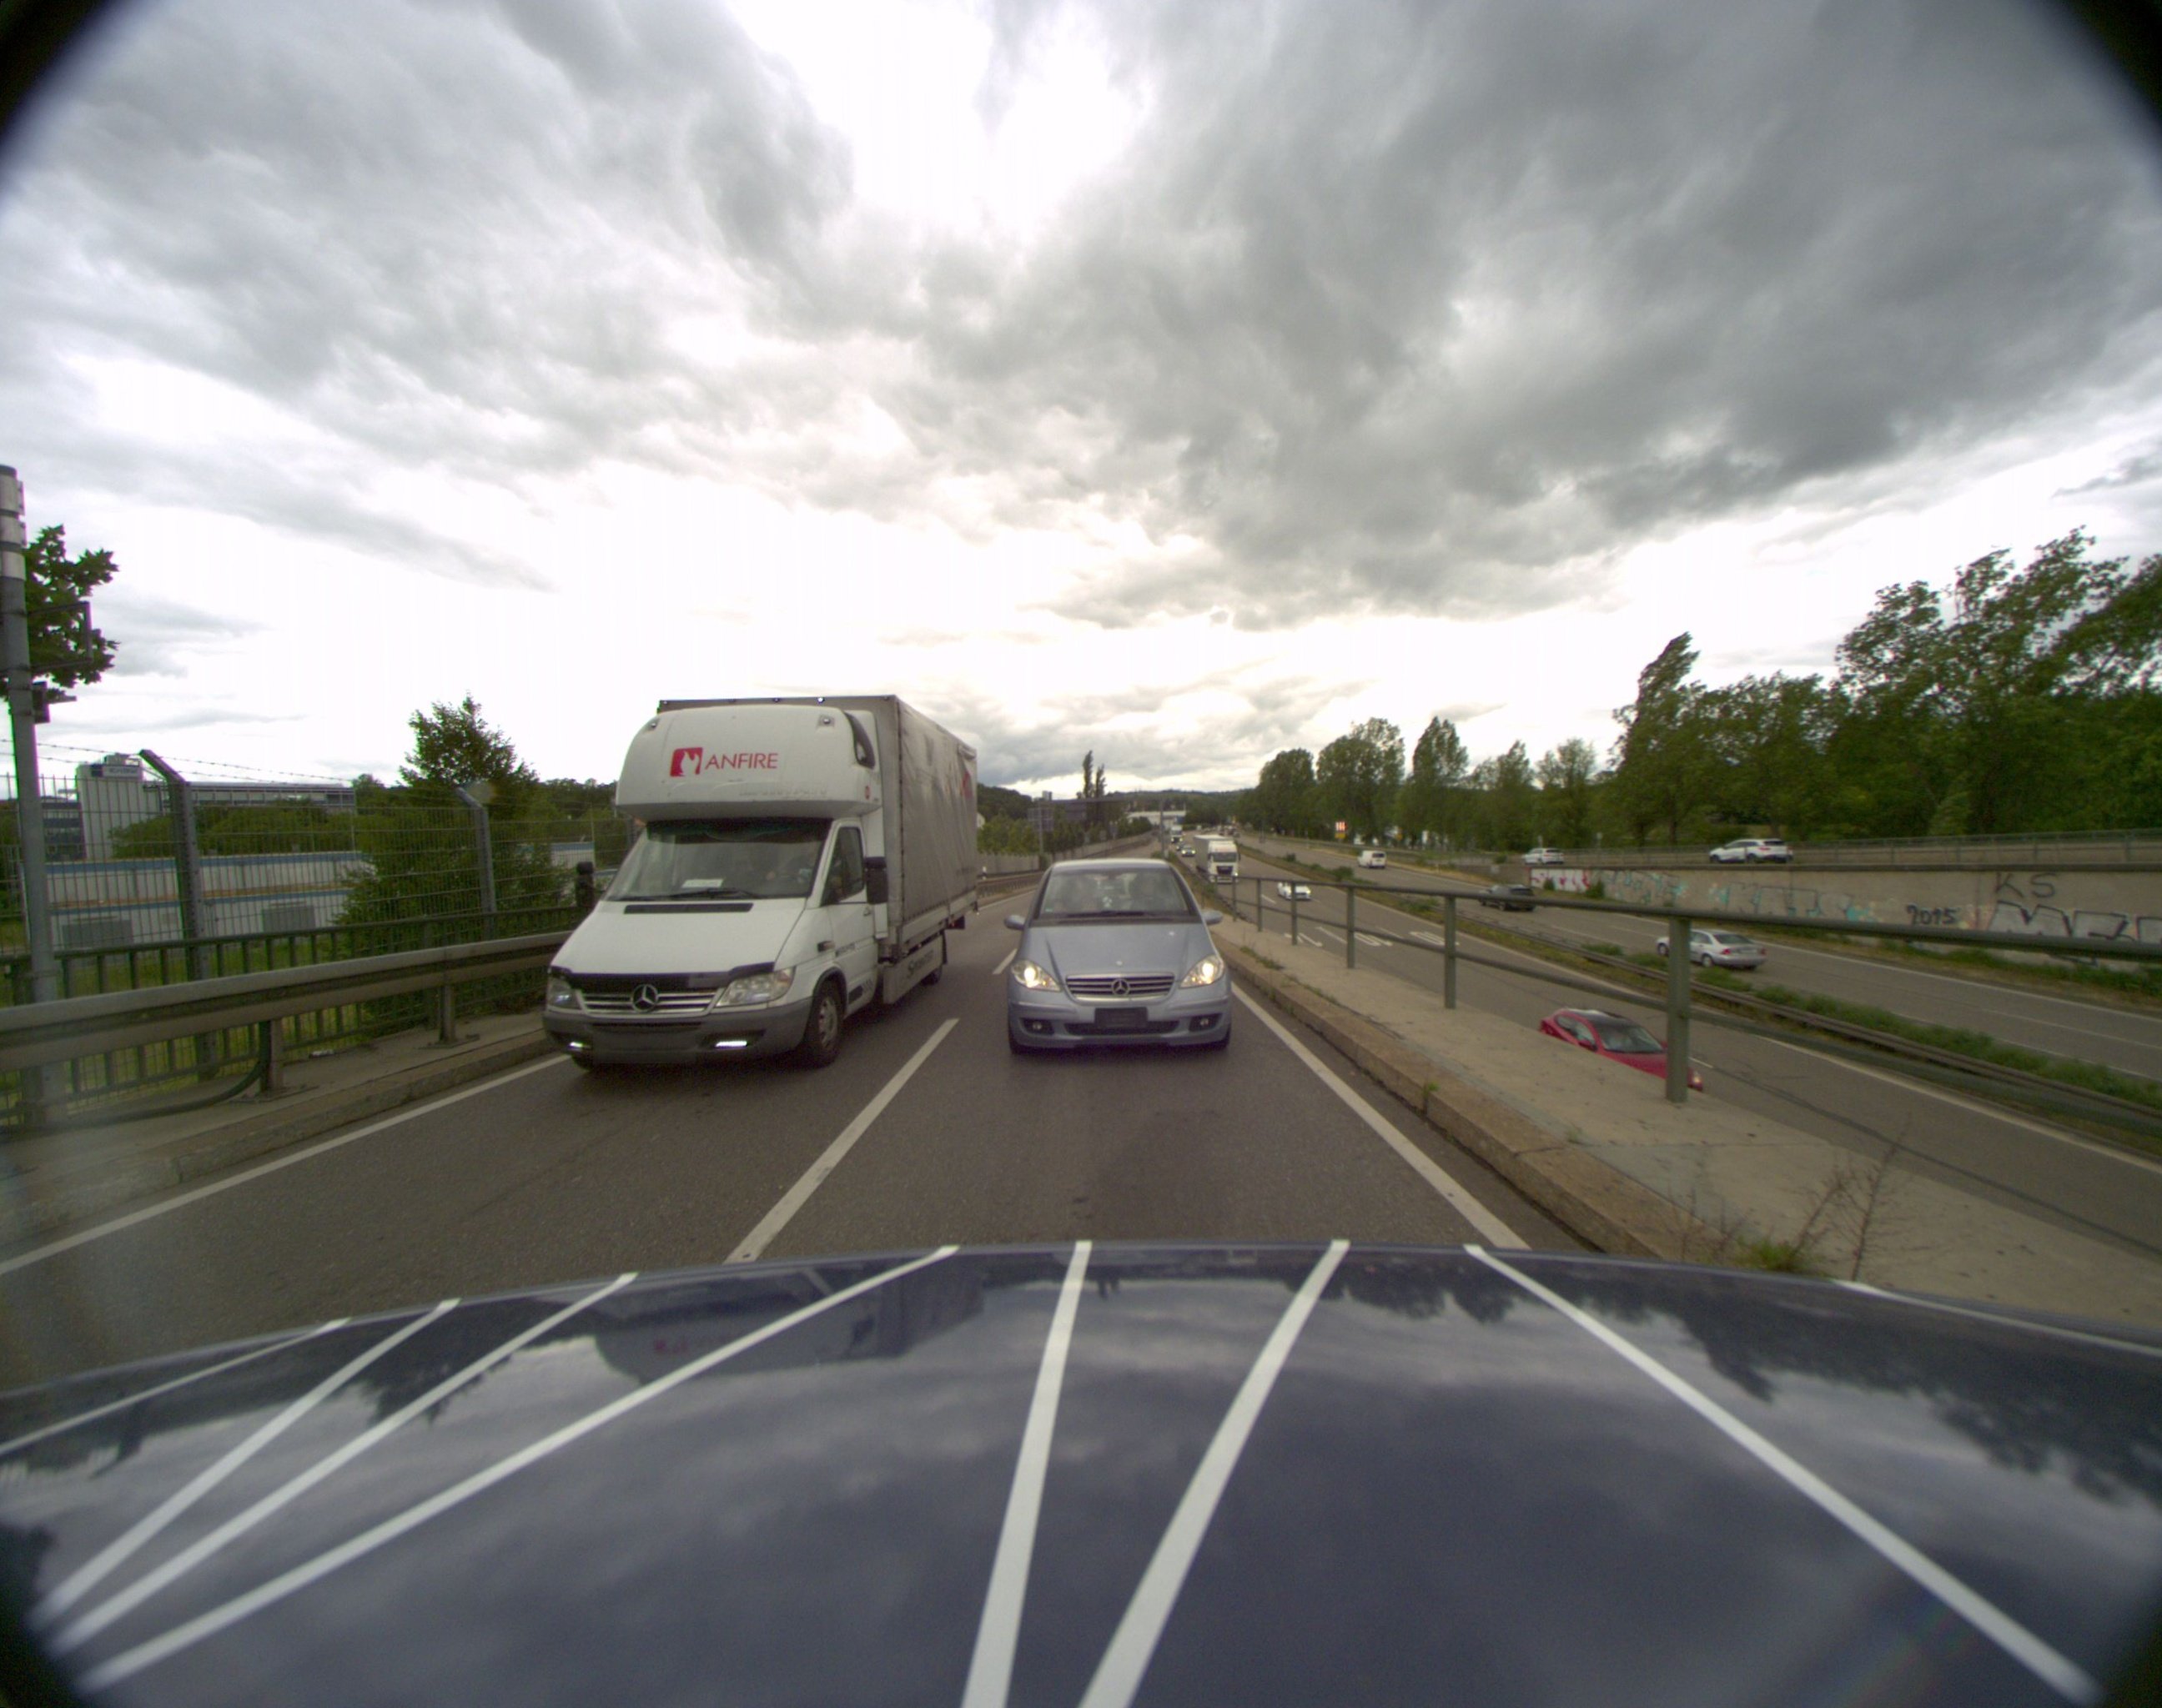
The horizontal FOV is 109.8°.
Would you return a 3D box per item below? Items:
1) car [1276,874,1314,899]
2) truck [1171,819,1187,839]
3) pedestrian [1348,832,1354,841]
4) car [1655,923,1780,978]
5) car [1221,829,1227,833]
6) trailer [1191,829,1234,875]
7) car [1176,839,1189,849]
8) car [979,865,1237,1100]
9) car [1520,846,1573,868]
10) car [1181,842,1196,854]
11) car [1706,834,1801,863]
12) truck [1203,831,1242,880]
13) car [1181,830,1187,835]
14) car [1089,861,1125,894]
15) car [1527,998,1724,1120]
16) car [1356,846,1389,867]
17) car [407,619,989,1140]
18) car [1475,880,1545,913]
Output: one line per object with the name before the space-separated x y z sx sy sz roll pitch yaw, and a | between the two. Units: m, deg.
car | 16.125 2.393 57.311 1.919 1.411 4.275 -1 4 4
truck | 23.186 -5.946 180.255 3.179 4.501 11.121 -1 3 4
pedestrian | 52.581 -3.352 148.024 0.831 1.696 1.077 -2 4 3
car | 25.980 3.888 31.222 1.733 1.520 4.085 -1 3 1
car | 48.763 -7.819 259.425 1.668 1.493 3.857 0 3 3
trailer | 13.672 -0.427 80.246 2.758 4.228 13.146 0 3 2
car | 18.101 -1.758 135.288 1.858 1.598 4.164 3 3 2
car | 0.278 0.942 7.368 1.780 1.578 4.001 -1 0 3
car | 40.459 0.245 66.144 1.998 1.859 4.213 -1 0 1
car | 16.352 -0.942 115.897 1.858 1.598 4.164 -1 3 2
car | 39.427 -0.304 44.698 1.837 1.567 4.347 -1 0 3
truck | 13.356 0.050 72.182 2.758 4.228 6.695 0 3 2
car | 34.272 -7.194 253.478 1.858 1.598 4.165 0 3 6
car | 1.467 1.235 41.261 1.780 1.578 4.001 -1 0 4
car | 12.387 4.605 17.681 1.756 1.433 4.163 -1 4 4
car | 33.418 0.292 87.298 1.998 2.056 5.175 -2 3 2
car | -2.915 0.140 8.486 2.665 3.310 7.090 -2 1 1
car | 27.860 2.722 49.500 1.920 1.729 4.550 -1 3 0
